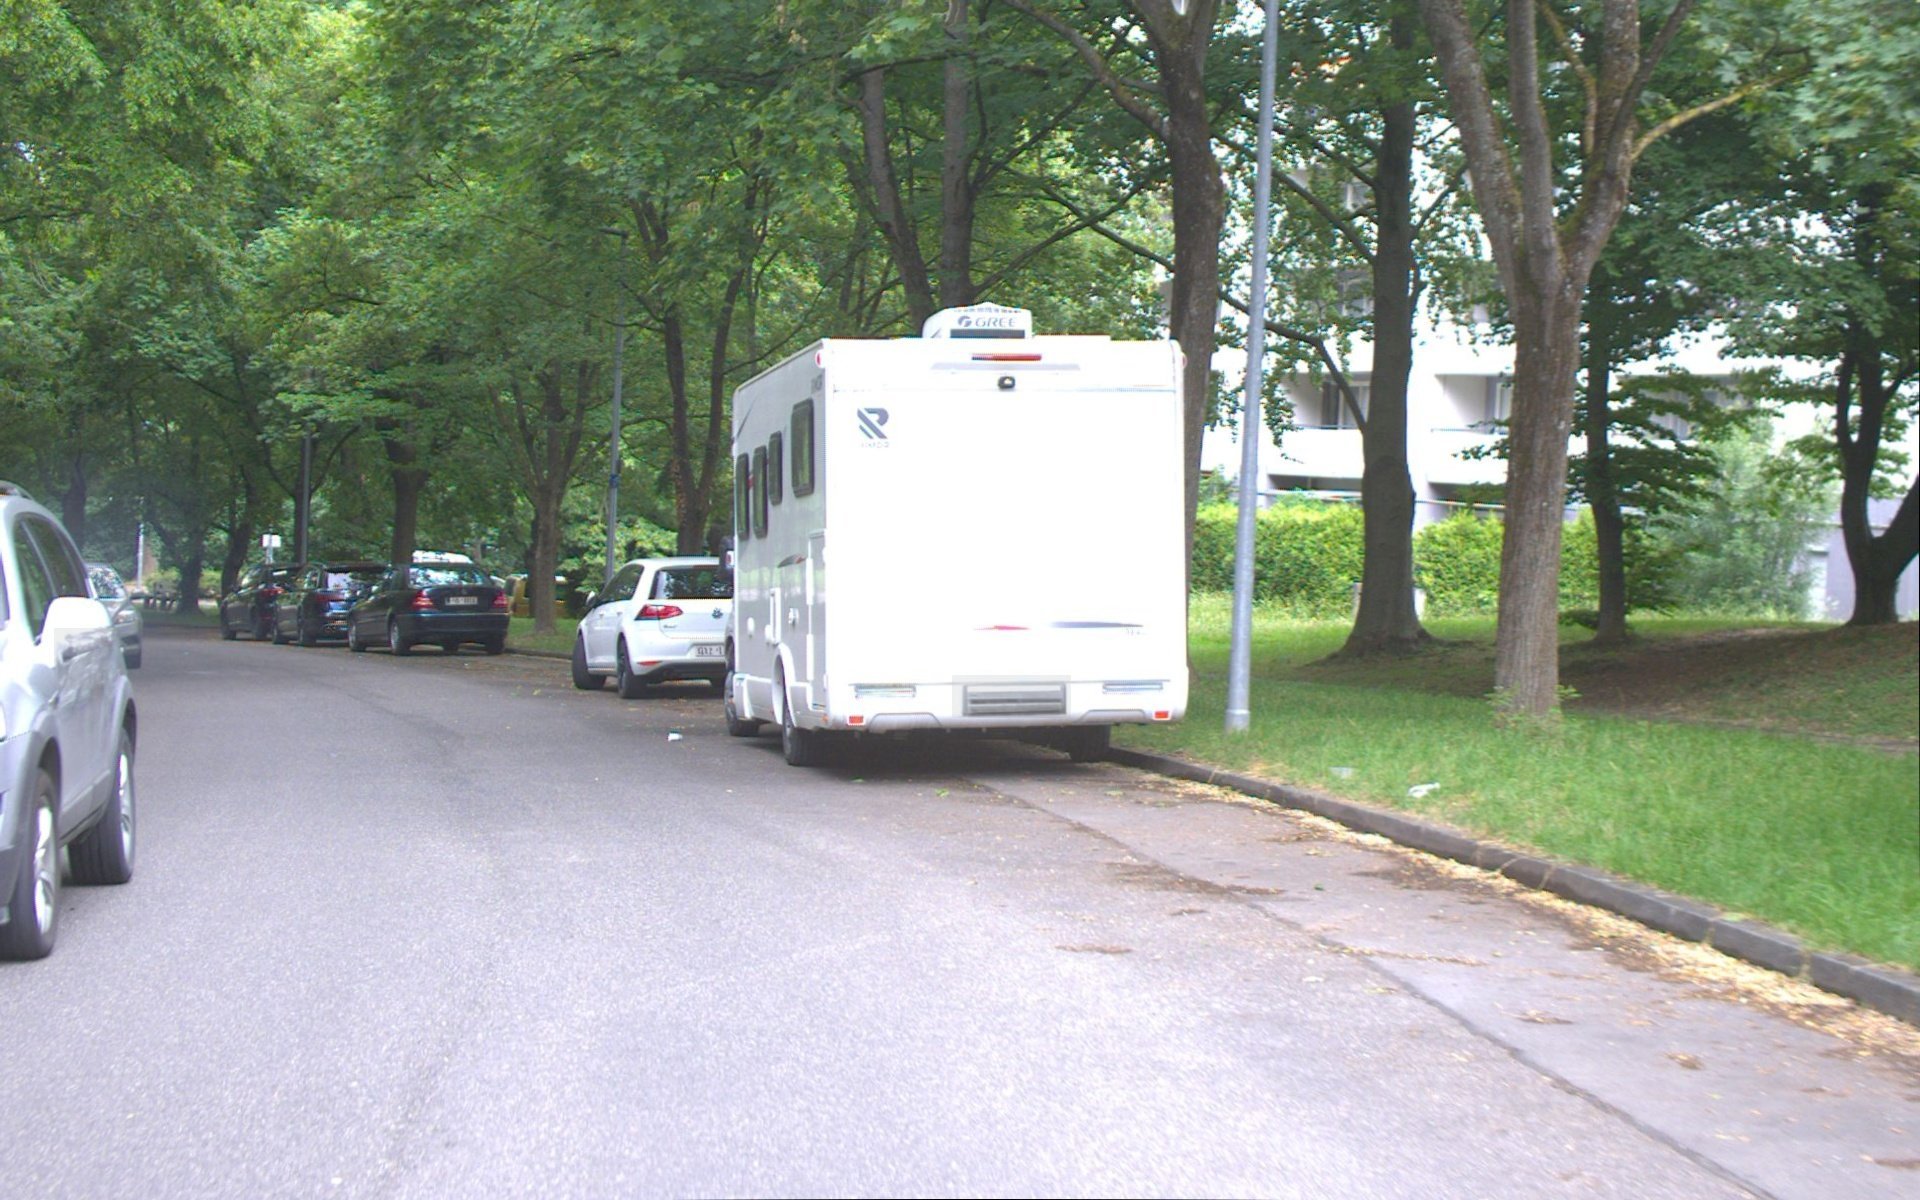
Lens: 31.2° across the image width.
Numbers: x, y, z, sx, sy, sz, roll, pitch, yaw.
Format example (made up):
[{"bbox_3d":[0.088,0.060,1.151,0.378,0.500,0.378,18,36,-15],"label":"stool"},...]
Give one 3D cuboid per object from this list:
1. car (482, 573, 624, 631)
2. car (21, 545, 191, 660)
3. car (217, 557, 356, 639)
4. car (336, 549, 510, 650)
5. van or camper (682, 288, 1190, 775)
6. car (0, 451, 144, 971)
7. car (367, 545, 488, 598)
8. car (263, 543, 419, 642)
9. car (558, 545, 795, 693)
[{"bbox_3d":[-13.720,0.074,115.949,4.395,1.842,1.833,1,1,-22],"label":"car"},{"bbox_3d":[-11.713,0.011,47.352,1.794,1.503,4.001,1,1,-7],"label":"car"},{"bbox_3d":[-12.617,-0.058,64.247,1.682,1.459,3.899,1,1,-25],"label":"car"},{"bbox_3d":[-8.322,-0.027,53.026,1.589,1.460,4.317,1,1,-24],"label":"car"},{"bbox_3d":[-0.426,-0.453,24.887,2.424,2.969,7.395,1,1,-10],"label":"van or camper"},{"bbox_3d":[-4.334,0.378,13.403,1.820,1.722,4.313,-2,1,-8],"label":"car"},{"bbox_3d":[-20.608,-1.098,132.997,4.205,2.007,2.000,1,1,-26],"label":"car"},{"bbox_3d":[-10.654,-0.151,58.925,1.913,1.606,4.736,1,1,-19],"label":"car"},{"bbox_3d":[-3.094,0.169,36.756,1.688,1.477,4.108,1,1,-17],"label":"car"}]
